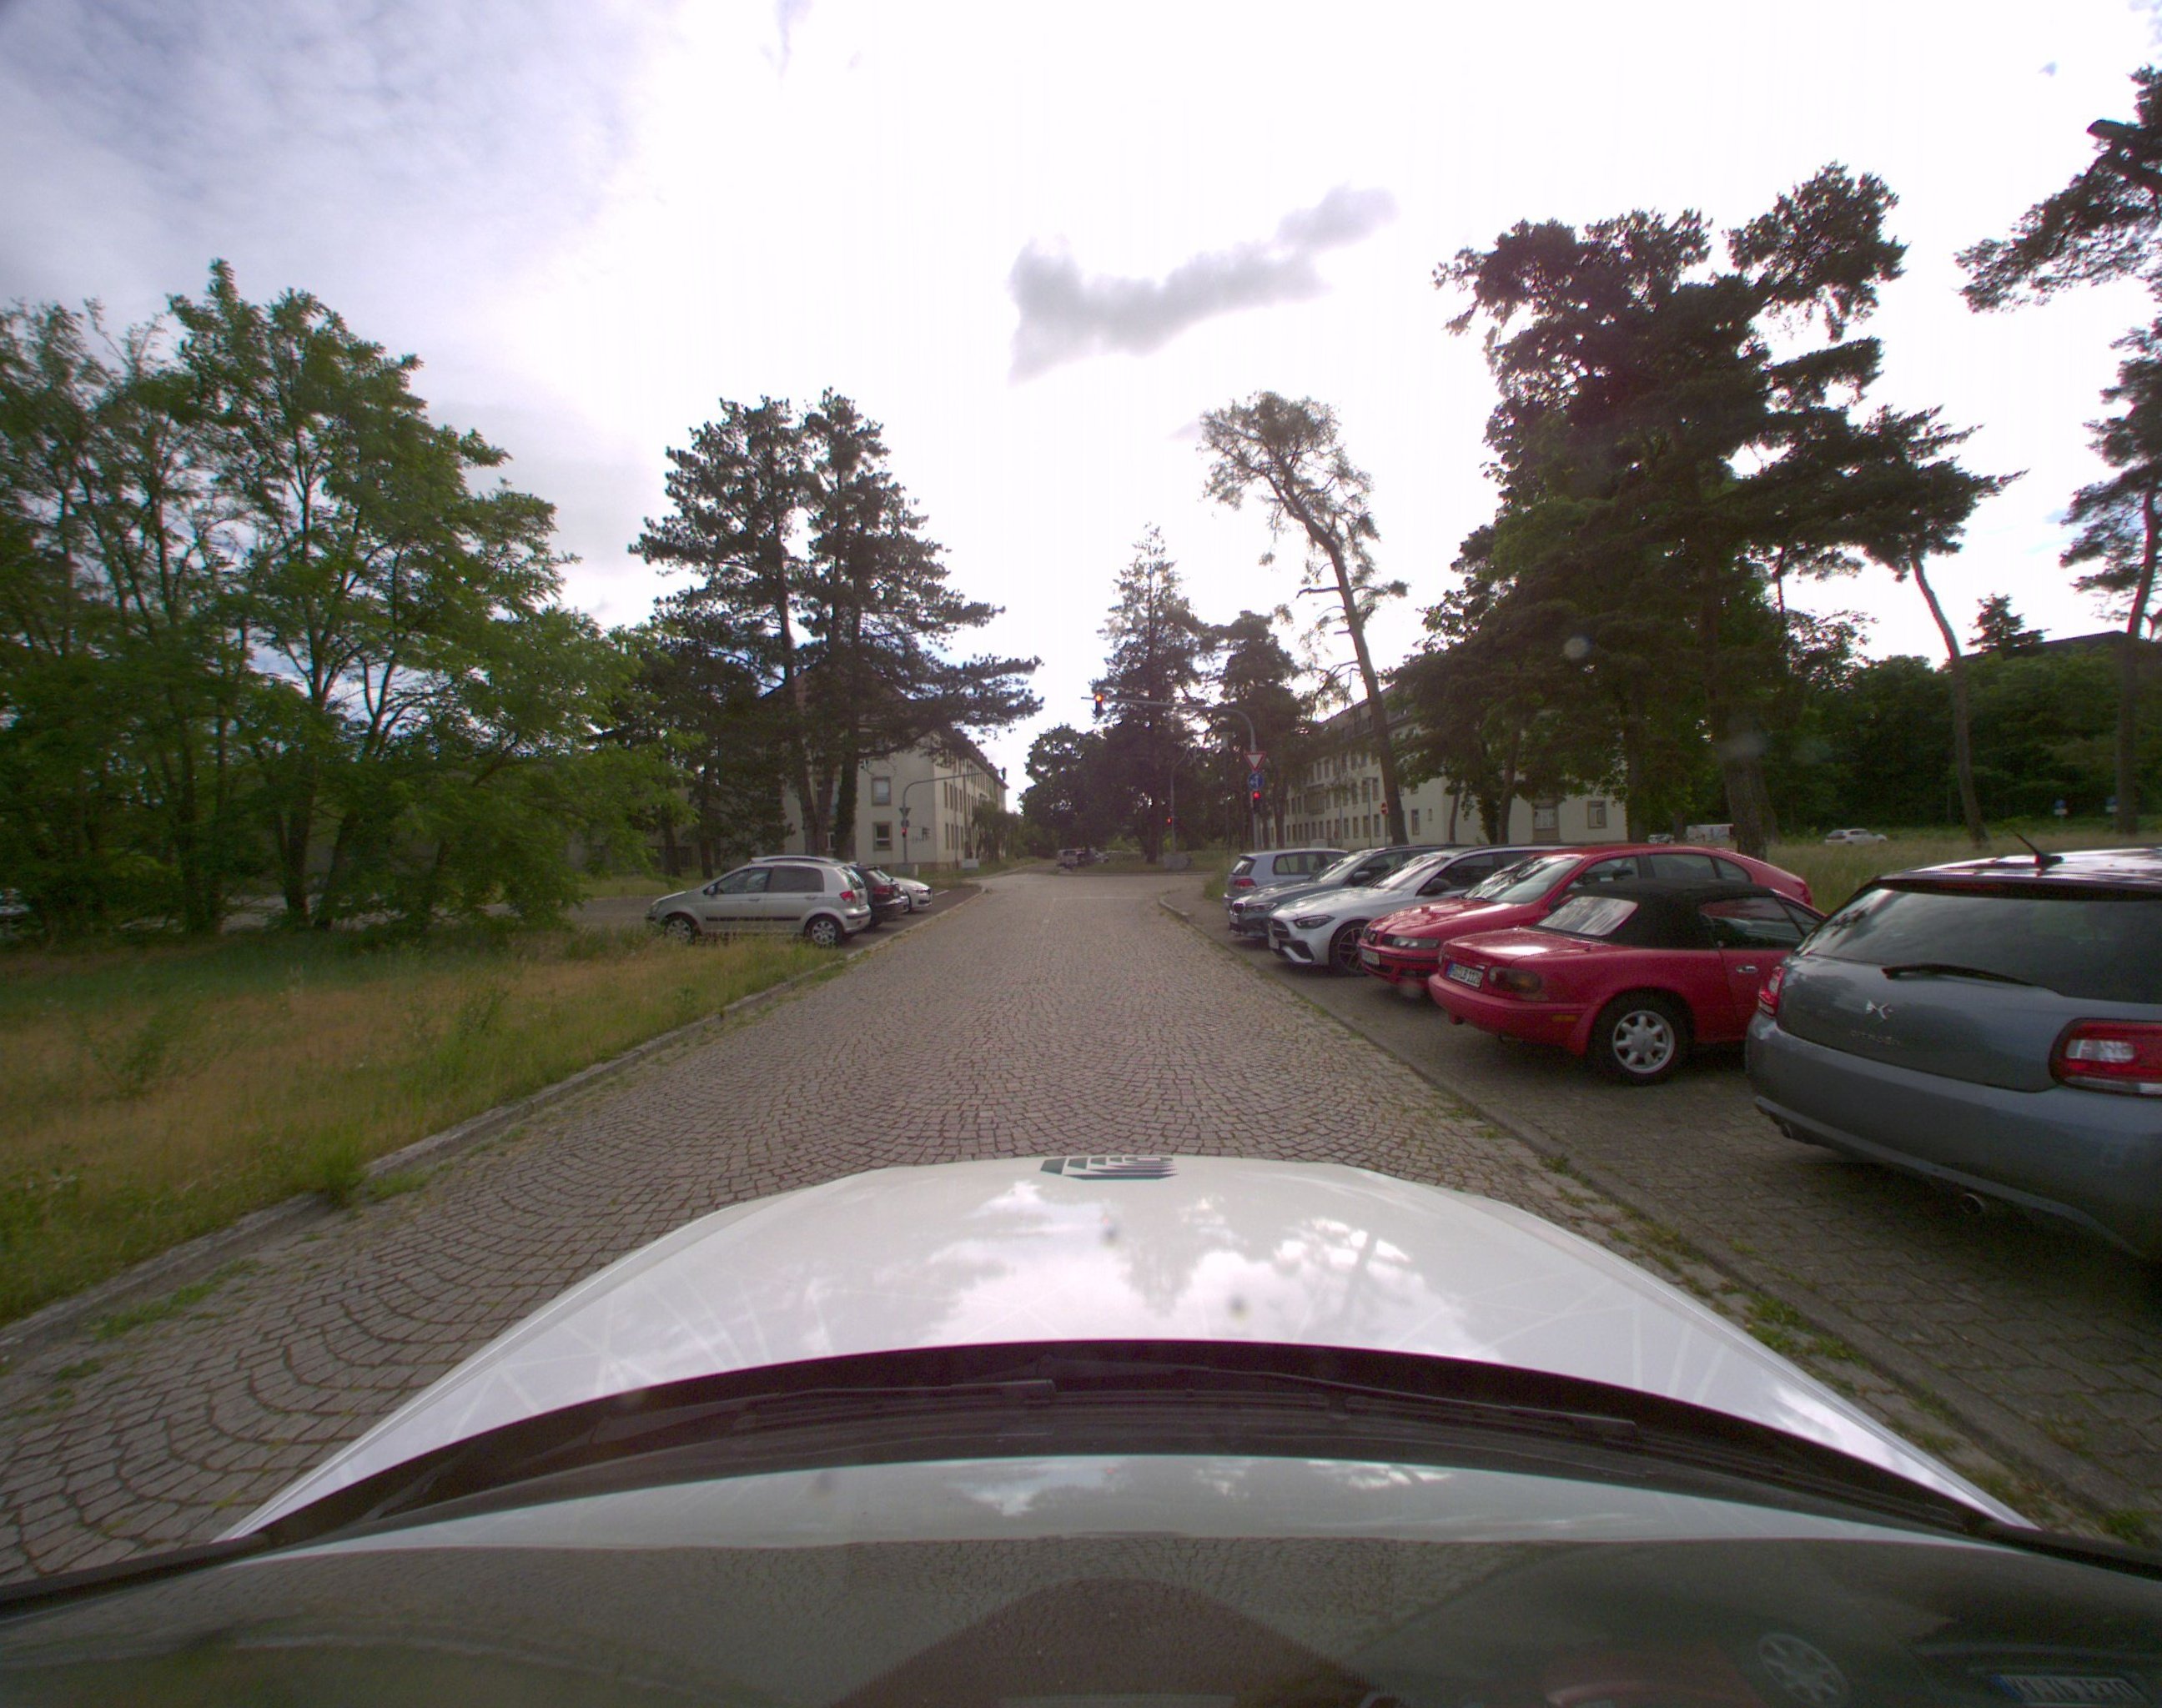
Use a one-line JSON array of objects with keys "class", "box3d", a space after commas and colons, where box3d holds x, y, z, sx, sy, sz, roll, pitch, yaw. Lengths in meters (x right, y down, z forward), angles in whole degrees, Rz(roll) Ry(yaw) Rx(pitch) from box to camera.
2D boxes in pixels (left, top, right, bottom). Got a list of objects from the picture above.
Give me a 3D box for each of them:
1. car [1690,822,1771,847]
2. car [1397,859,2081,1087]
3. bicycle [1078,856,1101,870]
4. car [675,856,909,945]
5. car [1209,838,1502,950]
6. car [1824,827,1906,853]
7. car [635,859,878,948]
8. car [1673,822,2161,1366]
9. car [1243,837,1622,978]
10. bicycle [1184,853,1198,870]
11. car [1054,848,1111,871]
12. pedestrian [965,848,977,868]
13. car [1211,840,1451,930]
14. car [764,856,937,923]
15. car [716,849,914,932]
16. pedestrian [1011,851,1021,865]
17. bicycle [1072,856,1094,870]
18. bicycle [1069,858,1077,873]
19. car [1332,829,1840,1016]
[{"class": "car", "box3d": [55.899, -1.647, 70.126, 5.283, 2.019, 2.105, 0, 0, 0]}, {"class": "car", "box3d": [4.389, 0.738, 5.852, 3.575, 1.223, 1.628, -3, 0, 0]}, {"class": "bicycle", "box3d": [0.701, 0.762, 67.899, 1.879, 1.171, 0.663, 0, 0, -7]}, {"class": "car", "box3d": [-5.974, 0.921, 17.304, 4.294, 1.554, 1.808, -3, 0, -7]}, {"class": "car", "box3d": [4.419, 0.592, 13.323, 4.231, 1.479, 1.703, -3, 0, -12]}, {"class": "car", "box3d": [57.183, -1.000, 59.421, 4.118, 1.804, 1.900, 0, 0, 1]}, {"class": "car", "box3d": [-5.718, 0.848, 14.714, 3.713, 1.481, 1.671, 0, 0, -4]}, {"class": "car", "box3d": [4.735, 0.622, 3.235, 3.495, 1.487, 1.742, -3, 0, -2]}, {"class": "car", "box3d": [4.428, 0.615, 10.557, 4.183, 1.437, 1.750, -3, 0, -8]}, {"class": "bicycle", "box3d": [7.121, 0.460, 52.781, 0.661, 1.051, 1.887, 0, 0, 0]}, {"class": "car", "box3d": [0.118, 0.588, 82.689, 5.382, 2.101, 2.169, -2, 0, -13]}, {"class": "pedestrian", "box3d": [-10.823, 0.383, 80.143, 1.071, 1.959, 1.121, 0, 0, -1]}, {"class": "car", "box3d": [4.797, 0.559, 15.885, 4.130, 1.463, 1.630, -3, 0, -6]}, {"class": "car", "box3d": [-6.269, 0.938, 22.555, 4.294, 1.554, 1.808, -3, 0, -7]}, {"class": "car", "box3d": [-6.436, 0.860, 20.098, 4.293, 1.732, 1.649, -3, 0, -6]}, {"class": "pedestrian", "box3d": [-8.943, 0.575, 112.119, 1.238, 1.959, 1.119, 0, 0, -6]}, {"class": "bicycle", "box3d": [0.162, 0.779, 71.383, 1.879, 1.171, 0.663, 0, 0, -7]}, {"class": "bicycle", "box3d": [-0.608, 0.902, 63.235, 0.661, 1.171, 1.887, 0, 0, 0]}, {"class": "car", "box3d": [4.862, 0.609, 8.205, 4.095, 1.476, 1.683, -3, 0, -3]}]
